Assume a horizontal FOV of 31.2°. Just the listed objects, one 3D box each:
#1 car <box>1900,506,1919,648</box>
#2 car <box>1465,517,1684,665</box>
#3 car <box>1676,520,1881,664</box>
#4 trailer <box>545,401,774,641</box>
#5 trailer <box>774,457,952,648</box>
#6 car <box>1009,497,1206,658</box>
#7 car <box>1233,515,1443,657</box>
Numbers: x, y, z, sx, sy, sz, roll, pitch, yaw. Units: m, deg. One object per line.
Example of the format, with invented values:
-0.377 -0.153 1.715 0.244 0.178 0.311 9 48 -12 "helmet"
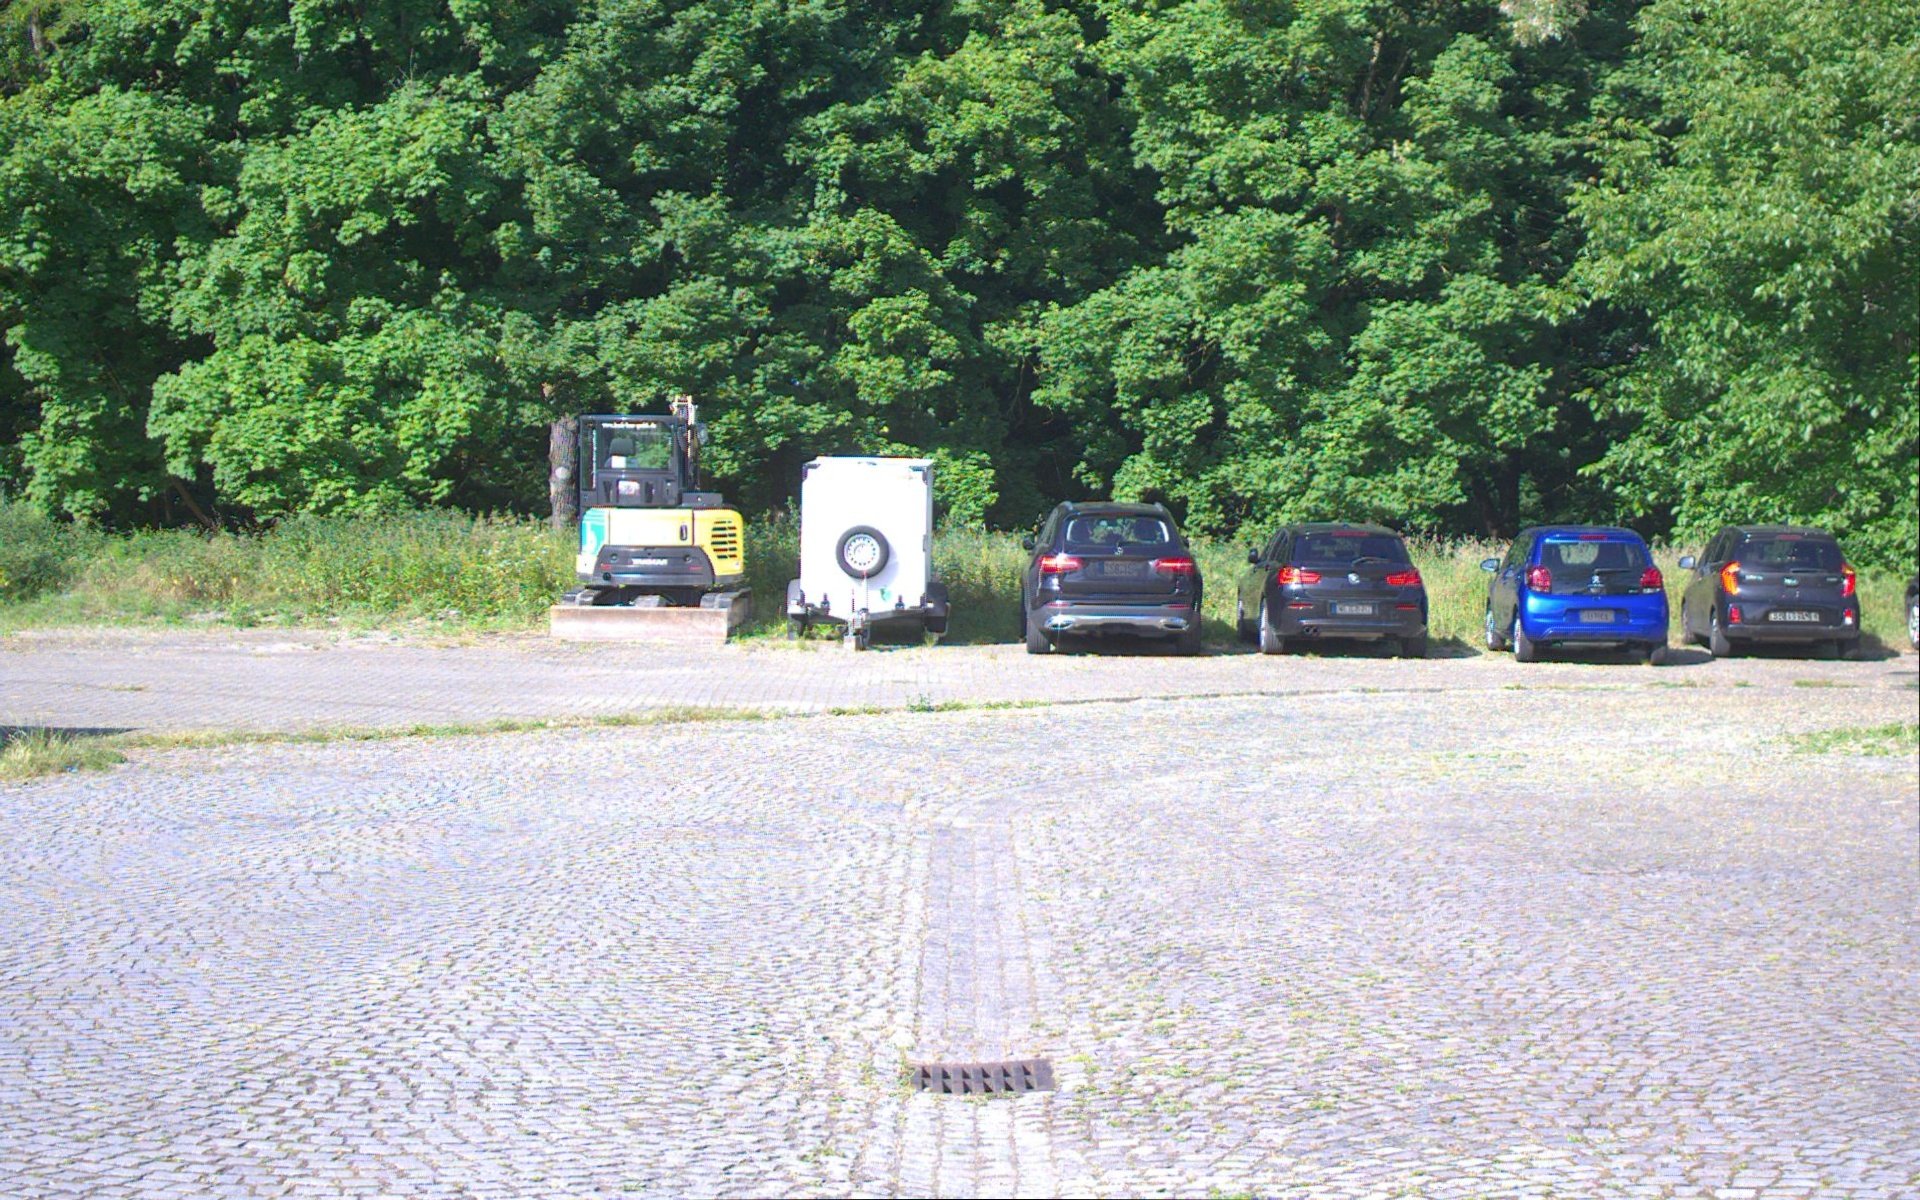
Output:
12.174 -0.142 38.836 1.874 1.625 4.274 1 4 0 "car"
6.768 -0.144 38.203 1.780 1.453 3.790 1 2 1 "car"
9.273 -0.131 39.204 1.739 1.446 3.724 2 2 6 "car"
-3.401 -0.955 39.365 2.258 2.529 2.851 1 5 2 "trailer"
-1.066 -0.572 38.994 1.818 2.043 2.850 1 2 2 "trailer"
1.558 -0.294 37.812 1.964 1.584 4.132 1 2 0 "car"
4.137 -0.194 38.155 1.889 1.406 3.790 1 2 0 "car"
